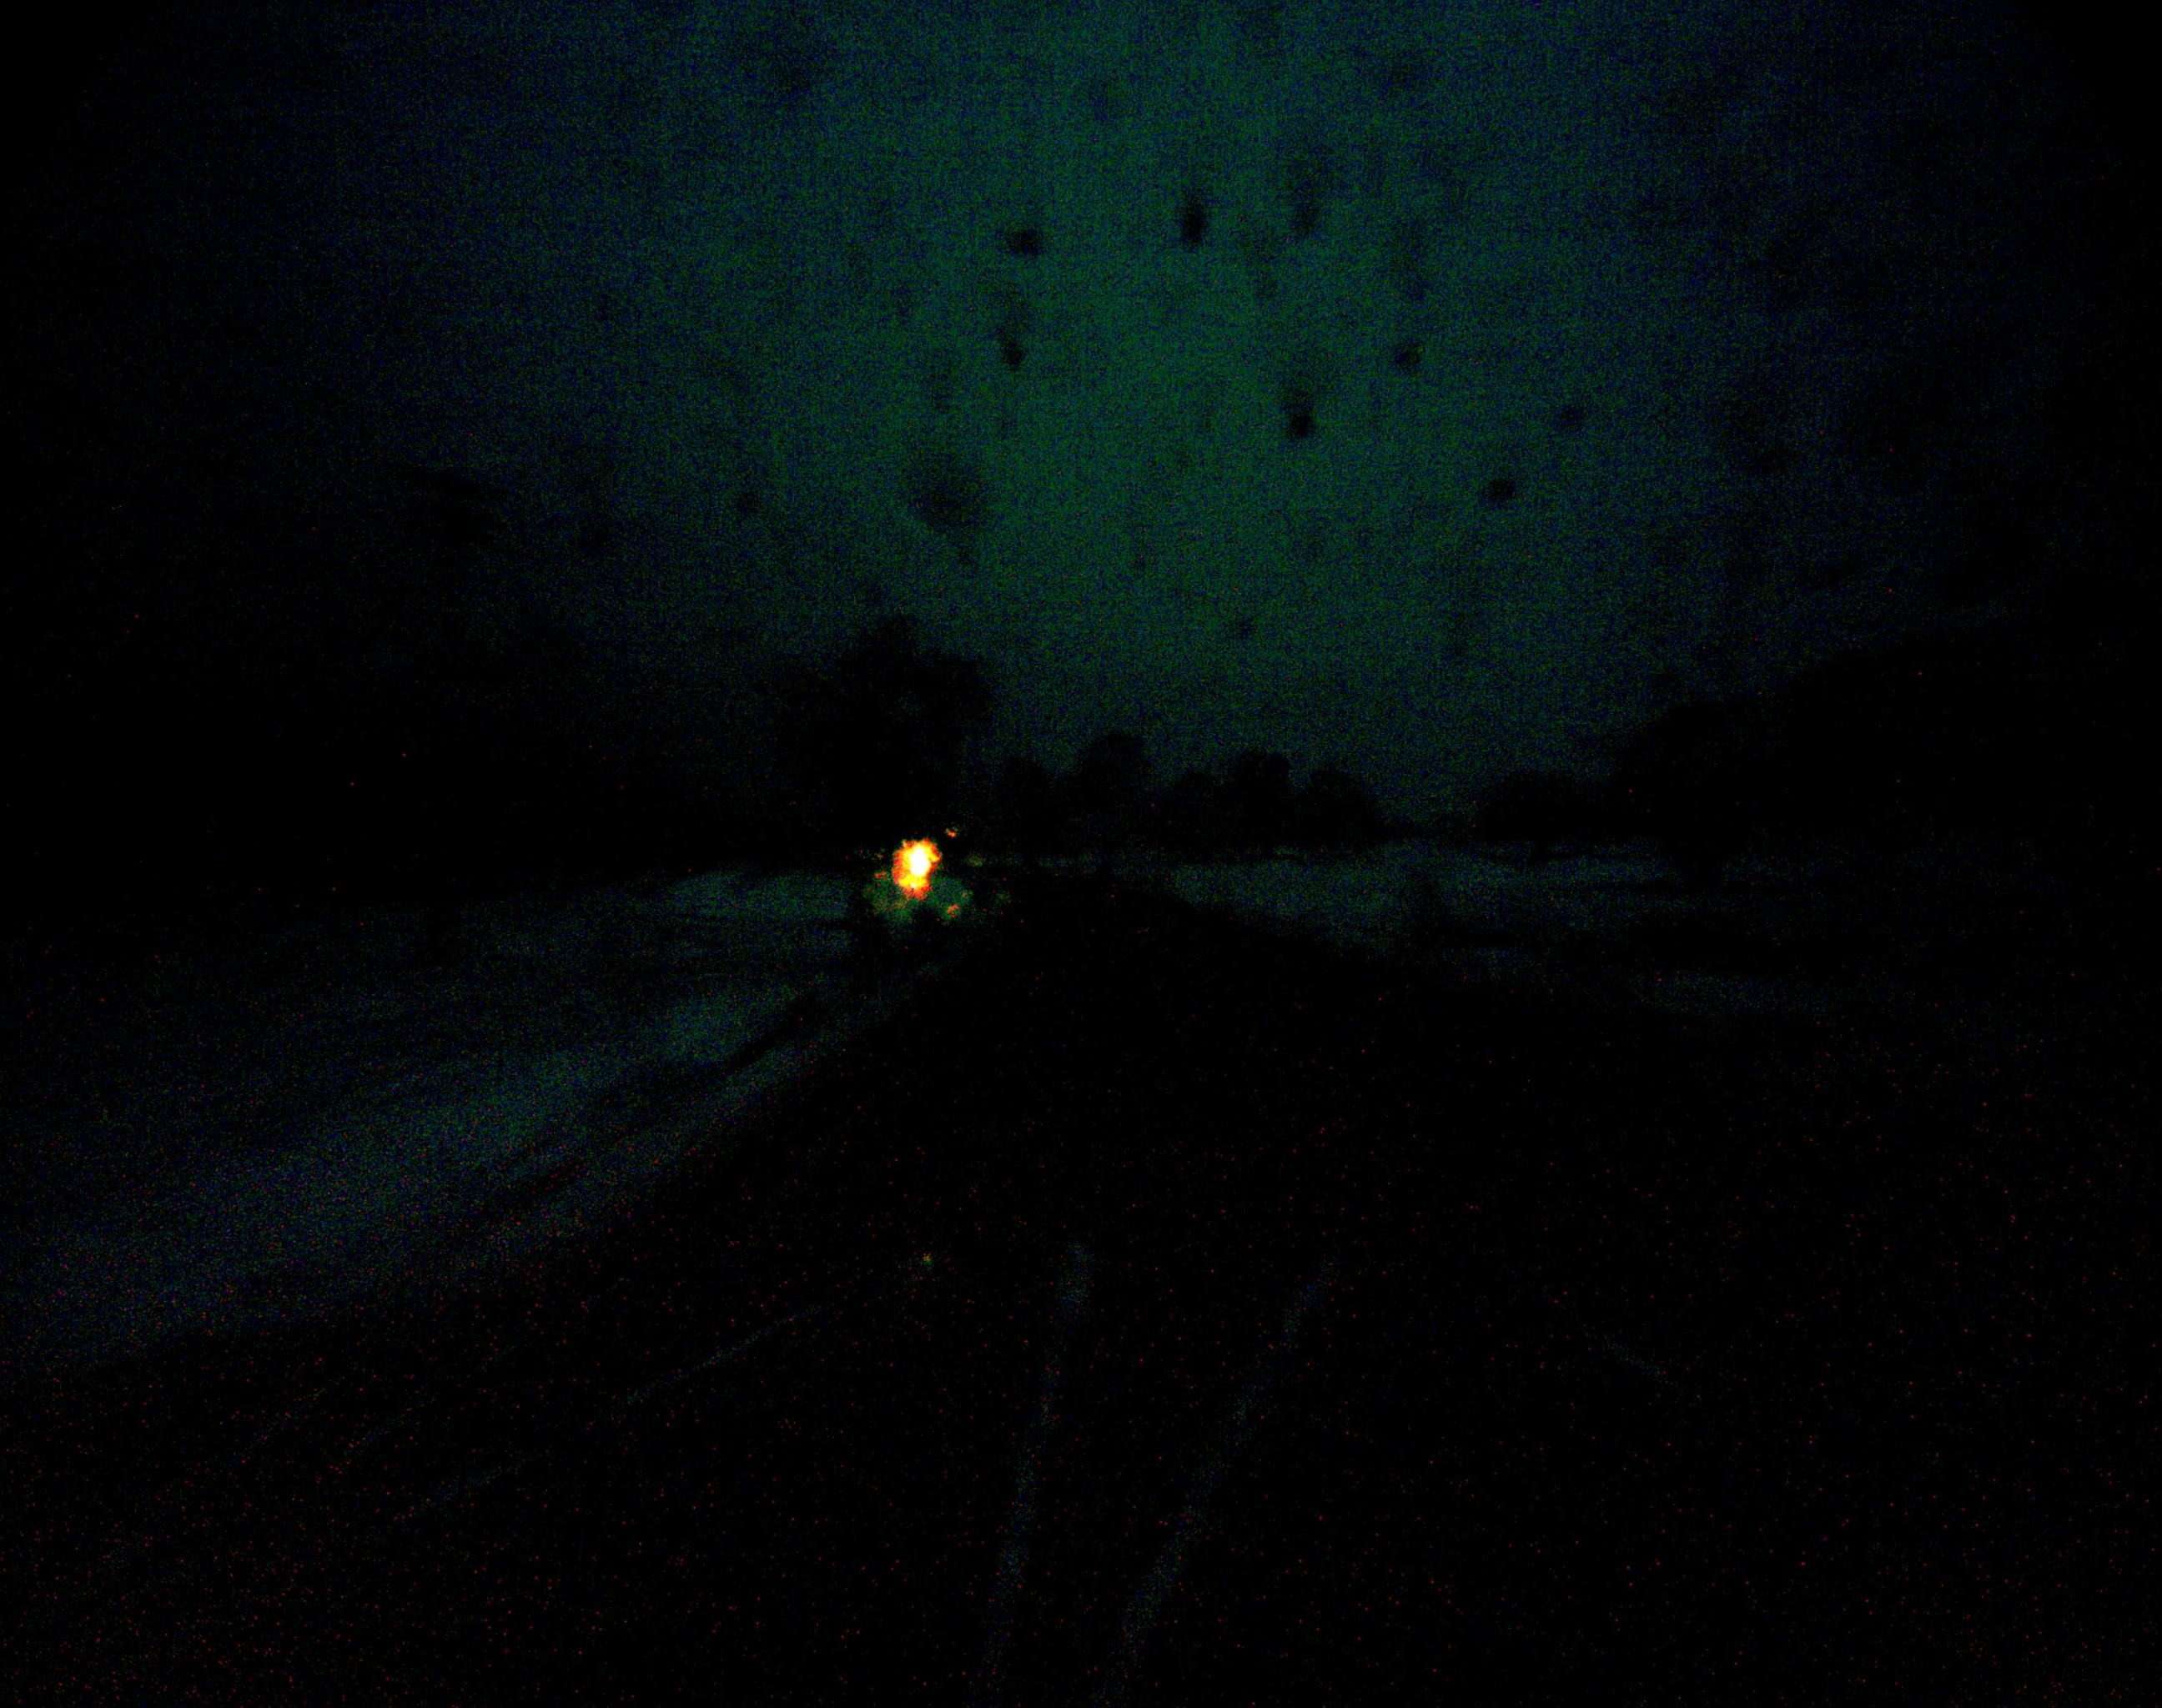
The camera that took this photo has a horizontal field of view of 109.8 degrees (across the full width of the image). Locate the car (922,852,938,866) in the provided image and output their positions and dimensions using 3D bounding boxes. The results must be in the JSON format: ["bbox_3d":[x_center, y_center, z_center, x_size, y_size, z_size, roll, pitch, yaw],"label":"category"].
[{"bbox_3d":[-23.795,0.761,119.636,2.001,2.002,3.993,-4,2,-16],"label":"car"}]
